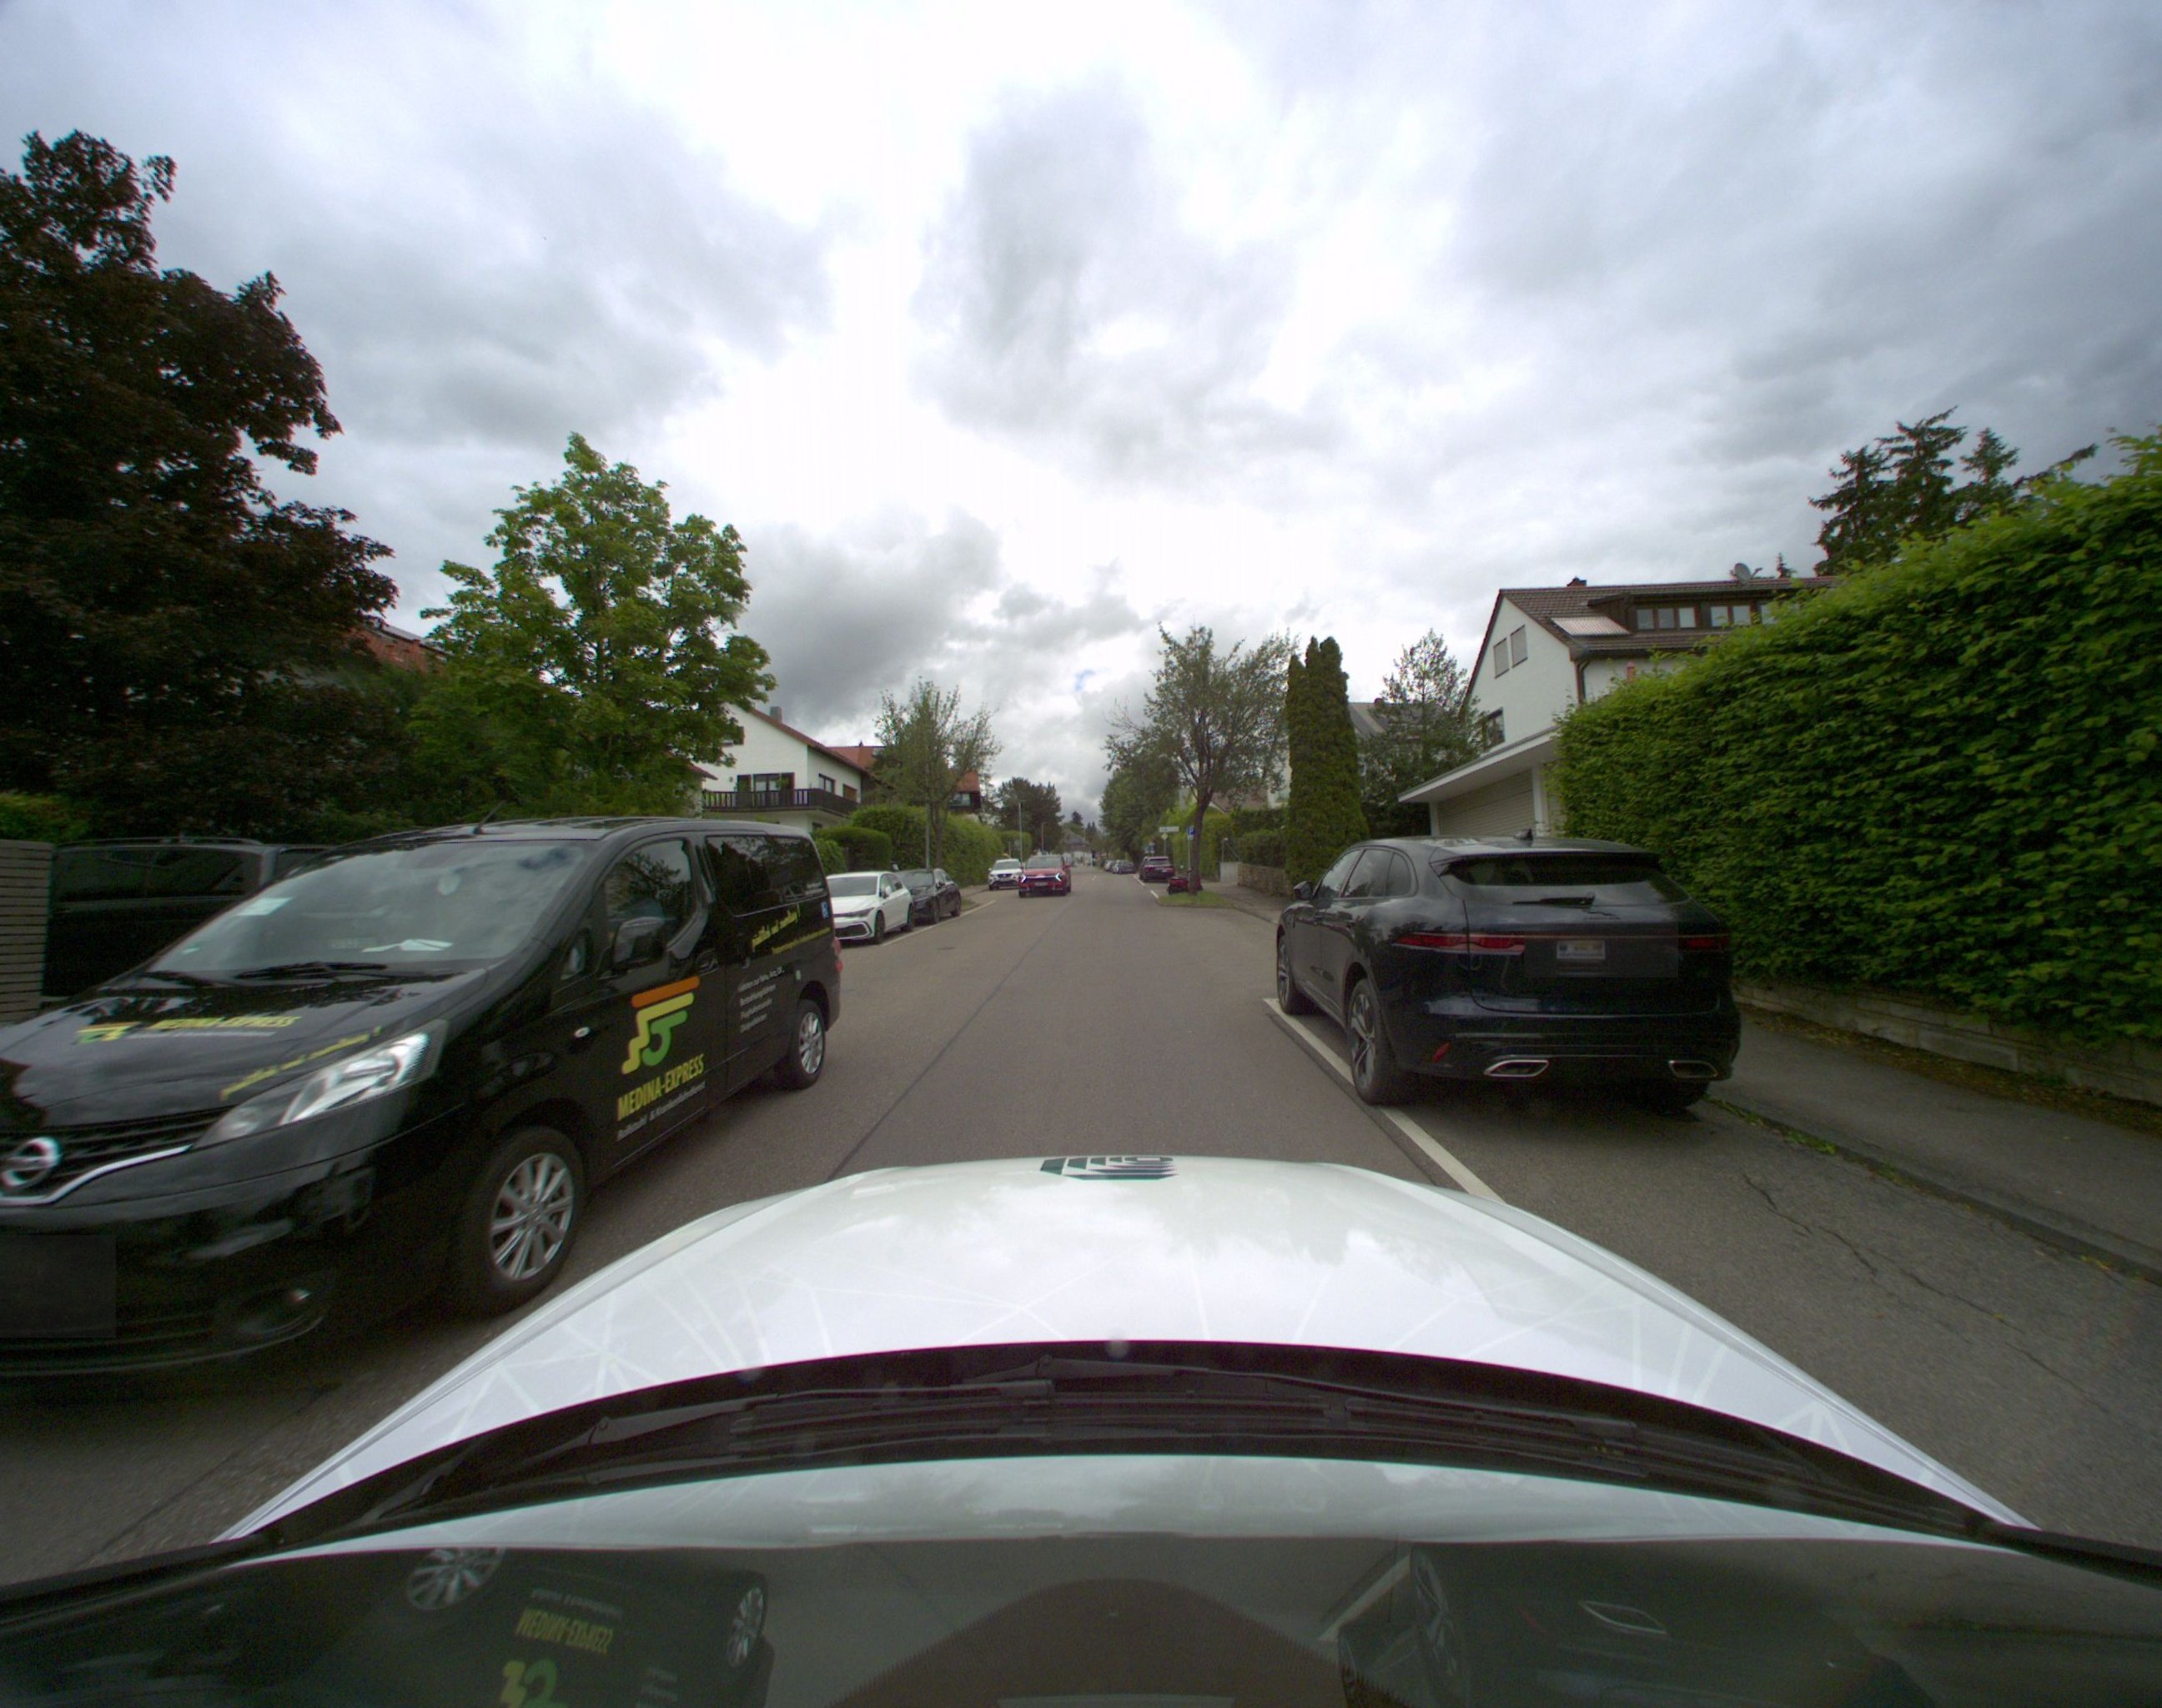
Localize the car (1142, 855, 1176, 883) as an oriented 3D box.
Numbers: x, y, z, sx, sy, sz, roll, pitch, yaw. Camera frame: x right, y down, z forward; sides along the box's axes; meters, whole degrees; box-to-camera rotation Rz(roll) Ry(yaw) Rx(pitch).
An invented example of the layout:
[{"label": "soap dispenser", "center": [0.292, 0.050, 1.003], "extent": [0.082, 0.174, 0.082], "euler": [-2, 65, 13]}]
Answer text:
[{"label": "car", "center": [4.616, 0.849, 48.610], "extent": [1.875, 1.533, 4.479], "euler": [0, 0, 3]}]

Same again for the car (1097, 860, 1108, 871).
[{"label": "car", "center": [3.682, 1.936, 138.753], "extent": [1.639, 1.668, 3.465], "euler": [-1, 0, -2]}]

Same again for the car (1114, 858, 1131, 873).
[{"label": "car", "center": [4.928, 1.345, 96.494], "extent": [1.709, 1.657, 3.619], "euler": [-1, 0, -2]}]

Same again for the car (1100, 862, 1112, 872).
[{"label": "car", "center": [3.944, 2.153, 130.773], "extent": [1.660, 1.501, 3.465], "euler": [-1, 0, -2]}]

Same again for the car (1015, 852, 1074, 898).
[{"label": "car", "center": [-1.412, 0.812, 33.303], "extent": [1.933, 1.647, 4.260], "euler": [-4, 0, 2]}]

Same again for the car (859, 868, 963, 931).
[{"label": "car", "center": [-4.457, 1.145, 22.006], "extent": [1.720, 1.423, 4.082], "euler": [-3, -1, 3]}]

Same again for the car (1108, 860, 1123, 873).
[{"label": "car", "center": [4.524, 1.621, 105.994], "extent": [1.660, 1.501, 3.465], "euler": [-1, 0, -2]}]

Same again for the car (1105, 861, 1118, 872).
[{"label": "car", "center": [4.358, 1.750, 116.558], "extent": [1.660, 1.501, 3.465], "euler": [-1, 0, -2]}]

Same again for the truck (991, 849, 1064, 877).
[{"label": "truck", "center": [-4.725, 0.802, 71.707], "extent": [5.943, 2.309, 2.810], "euler": [0, -4, -16]}]

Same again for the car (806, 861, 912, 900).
[{"label": "car", "center": [-9.430, 1.112, 34.736], "extent": [3.967, 1.533, 1.791], "euler": [0, 0, 6]}]

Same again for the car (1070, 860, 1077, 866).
[{"label": "car", "center": [-1.914, 2.321, 212.455], "extent": [1.817, 1.420, 3.997], "euler": [-1, 0, -2]}]

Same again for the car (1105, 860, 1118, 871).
[{"label": "car", "center": [4.591, 1.750, 123.695], "extent": [1.660, 1.668, 3.465], "euler": [-1, 0, -2]}]

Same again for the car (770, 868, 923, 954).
[{"label": "car", "center": [-4.817, 1.103, 17.439], "extent": [1.830, 1.422, 4.409], "euler": [-3, 0, 1]}]

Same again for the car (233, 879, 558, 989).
[{"label": "car", "center": [-10.374, 1.149, 12.406], "extent": [3.958, 1.445, 1.786], "euler": [-1, 0, 14]}]

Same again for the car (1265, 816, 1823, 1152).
[{"label": "car", "center": [2.757, 0.640, 6.246], "extent": [1.984, 1.618, 4.518], "euler": [0, 0, 4]}]

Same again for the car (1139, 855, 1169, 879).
[{"label": "car", "center": [4.849, 0.838, 54.465], "extent": [1.875, 1.533, 4.479], "euler": [0, 0, 3]}]

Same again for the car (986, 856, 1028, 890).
[{"label": "car", "center": [-3.734, 0.934, 41.883], "extent": [1.717, 1.540, 3.999], "euler": [-3, 0, 0]}]

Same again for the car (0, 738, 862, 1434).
[{"label": "car", "center": [-2.824, 0.655, 4.425], "extent": [1.878, 1.851, 4.403], "euler": [-3, 0, 2]}]

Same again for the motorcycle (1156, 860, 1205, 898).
[{"label": "motorcycle", "center": [3.783, 0.917, 30.841], "extent": [1.876, 1.346, 0.593], "euler": [-2, 0, -34]}]

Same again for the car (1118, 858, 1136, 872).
[{"label": "car", "center": [5.193, 1.227, 91.952], "extent": [1.660, 1.501, 3.465], "euler": [-1, 0, -2]}]

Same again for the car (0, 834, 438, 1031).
[{"label": "car", "center": [-10.137, 0.865, 9.423], "extent": [4.047, 1.950, 2.005], "euler": [-2, -2, 10]}]
